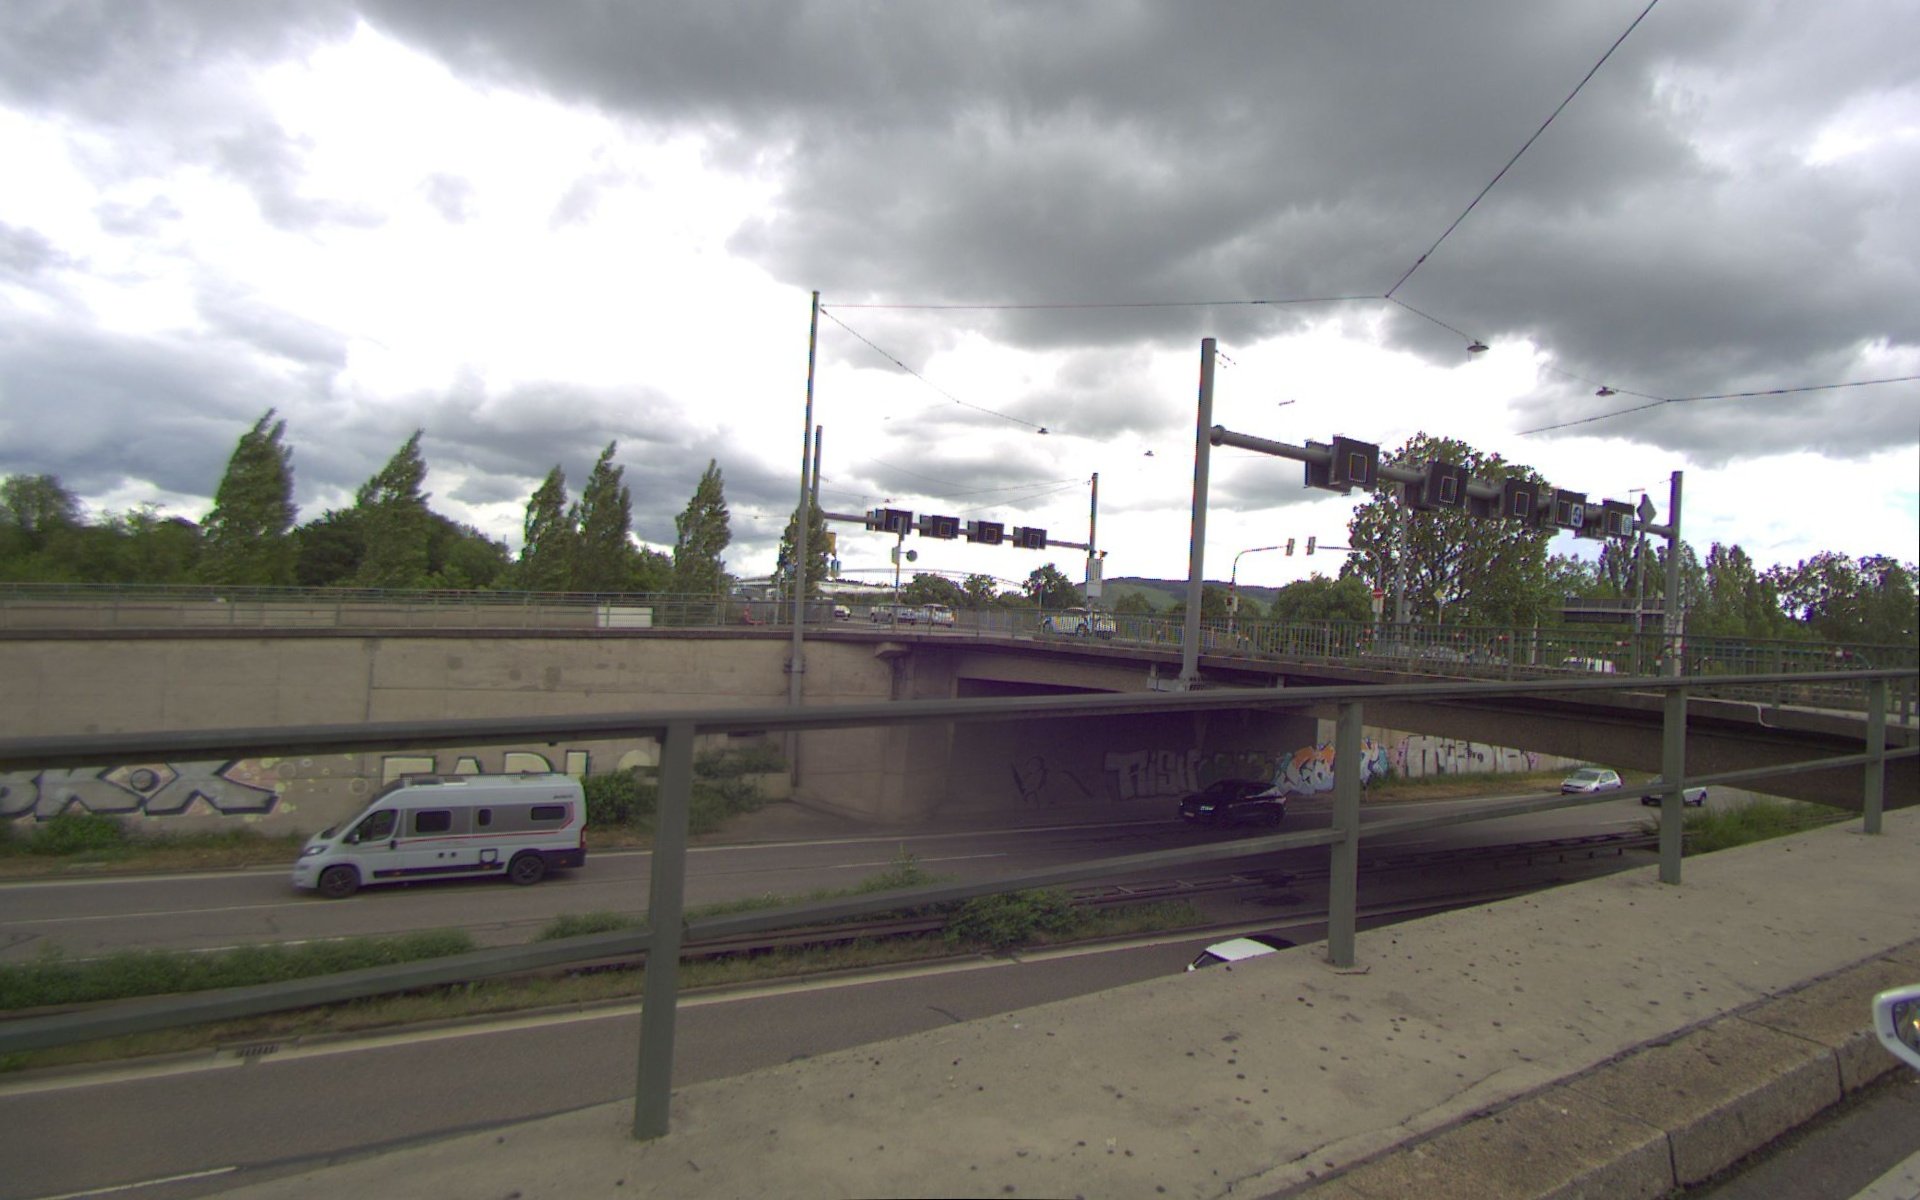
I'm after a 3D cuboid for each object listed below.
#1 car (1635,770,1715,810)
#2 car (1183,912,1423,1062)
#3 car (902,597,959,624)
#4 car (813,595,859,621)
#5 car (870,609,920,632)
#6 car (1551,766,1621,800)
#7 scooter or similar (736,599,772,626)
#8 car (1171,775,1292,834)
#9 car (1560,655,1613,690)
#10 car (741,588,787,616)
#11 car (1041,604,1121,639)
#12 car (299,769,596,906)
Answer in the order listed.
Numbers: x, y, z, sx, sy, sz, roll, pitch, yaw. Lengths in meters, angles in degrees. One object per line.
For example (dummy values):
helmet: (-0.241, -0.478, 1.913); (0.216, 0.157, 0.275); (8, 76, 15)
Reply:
car: (37.789, 9.988, 53.069); (4.257, 1.637, 1.877); (4, -2, -30)
car: (6.160, 6.733, 17.876); (4.237, 1.437, 1.902); (6, -3, -36)
car: (-1.960, 0.667, 66.552); (1.918, 1.740, 3.960); (1, -1, -35)
car: (-7.952, 0.501, 64.427); (1.560, 1.587, 3.715); (1, 0, -31)
car: (-4.092, 1.254, 62.824); (1.537, 1.372, 3.860); (1, -1, -31)
car: (34.537, 10.083, 55.379); (3.877, 1.476, 1.674); (4, -2, -30)
scooter or similar: (-8.882, 0.559, 43.303); (1.402, 1.108, 0.539); (3, -2, -34)
car: (10.772, 8.025, 39.753); (4.537, 1.774, 1.984); (4, -2, -30)
car: (43.829, 5.016, 70.253); (3.626, 2.245, 1.843); (1, 0, -35)
car: (-14.504, 0.155, 74.179); (1.711, 2.040, 4.443); (1, 0, -35)
car: (6.373, 1.106, 53.474); (1.916, 1.740, 4.367); (1, -1, -32)
car: (-12.581, 5.723, 24.961); (6.263, 2.567, 2.071); (4, -3, -33)
